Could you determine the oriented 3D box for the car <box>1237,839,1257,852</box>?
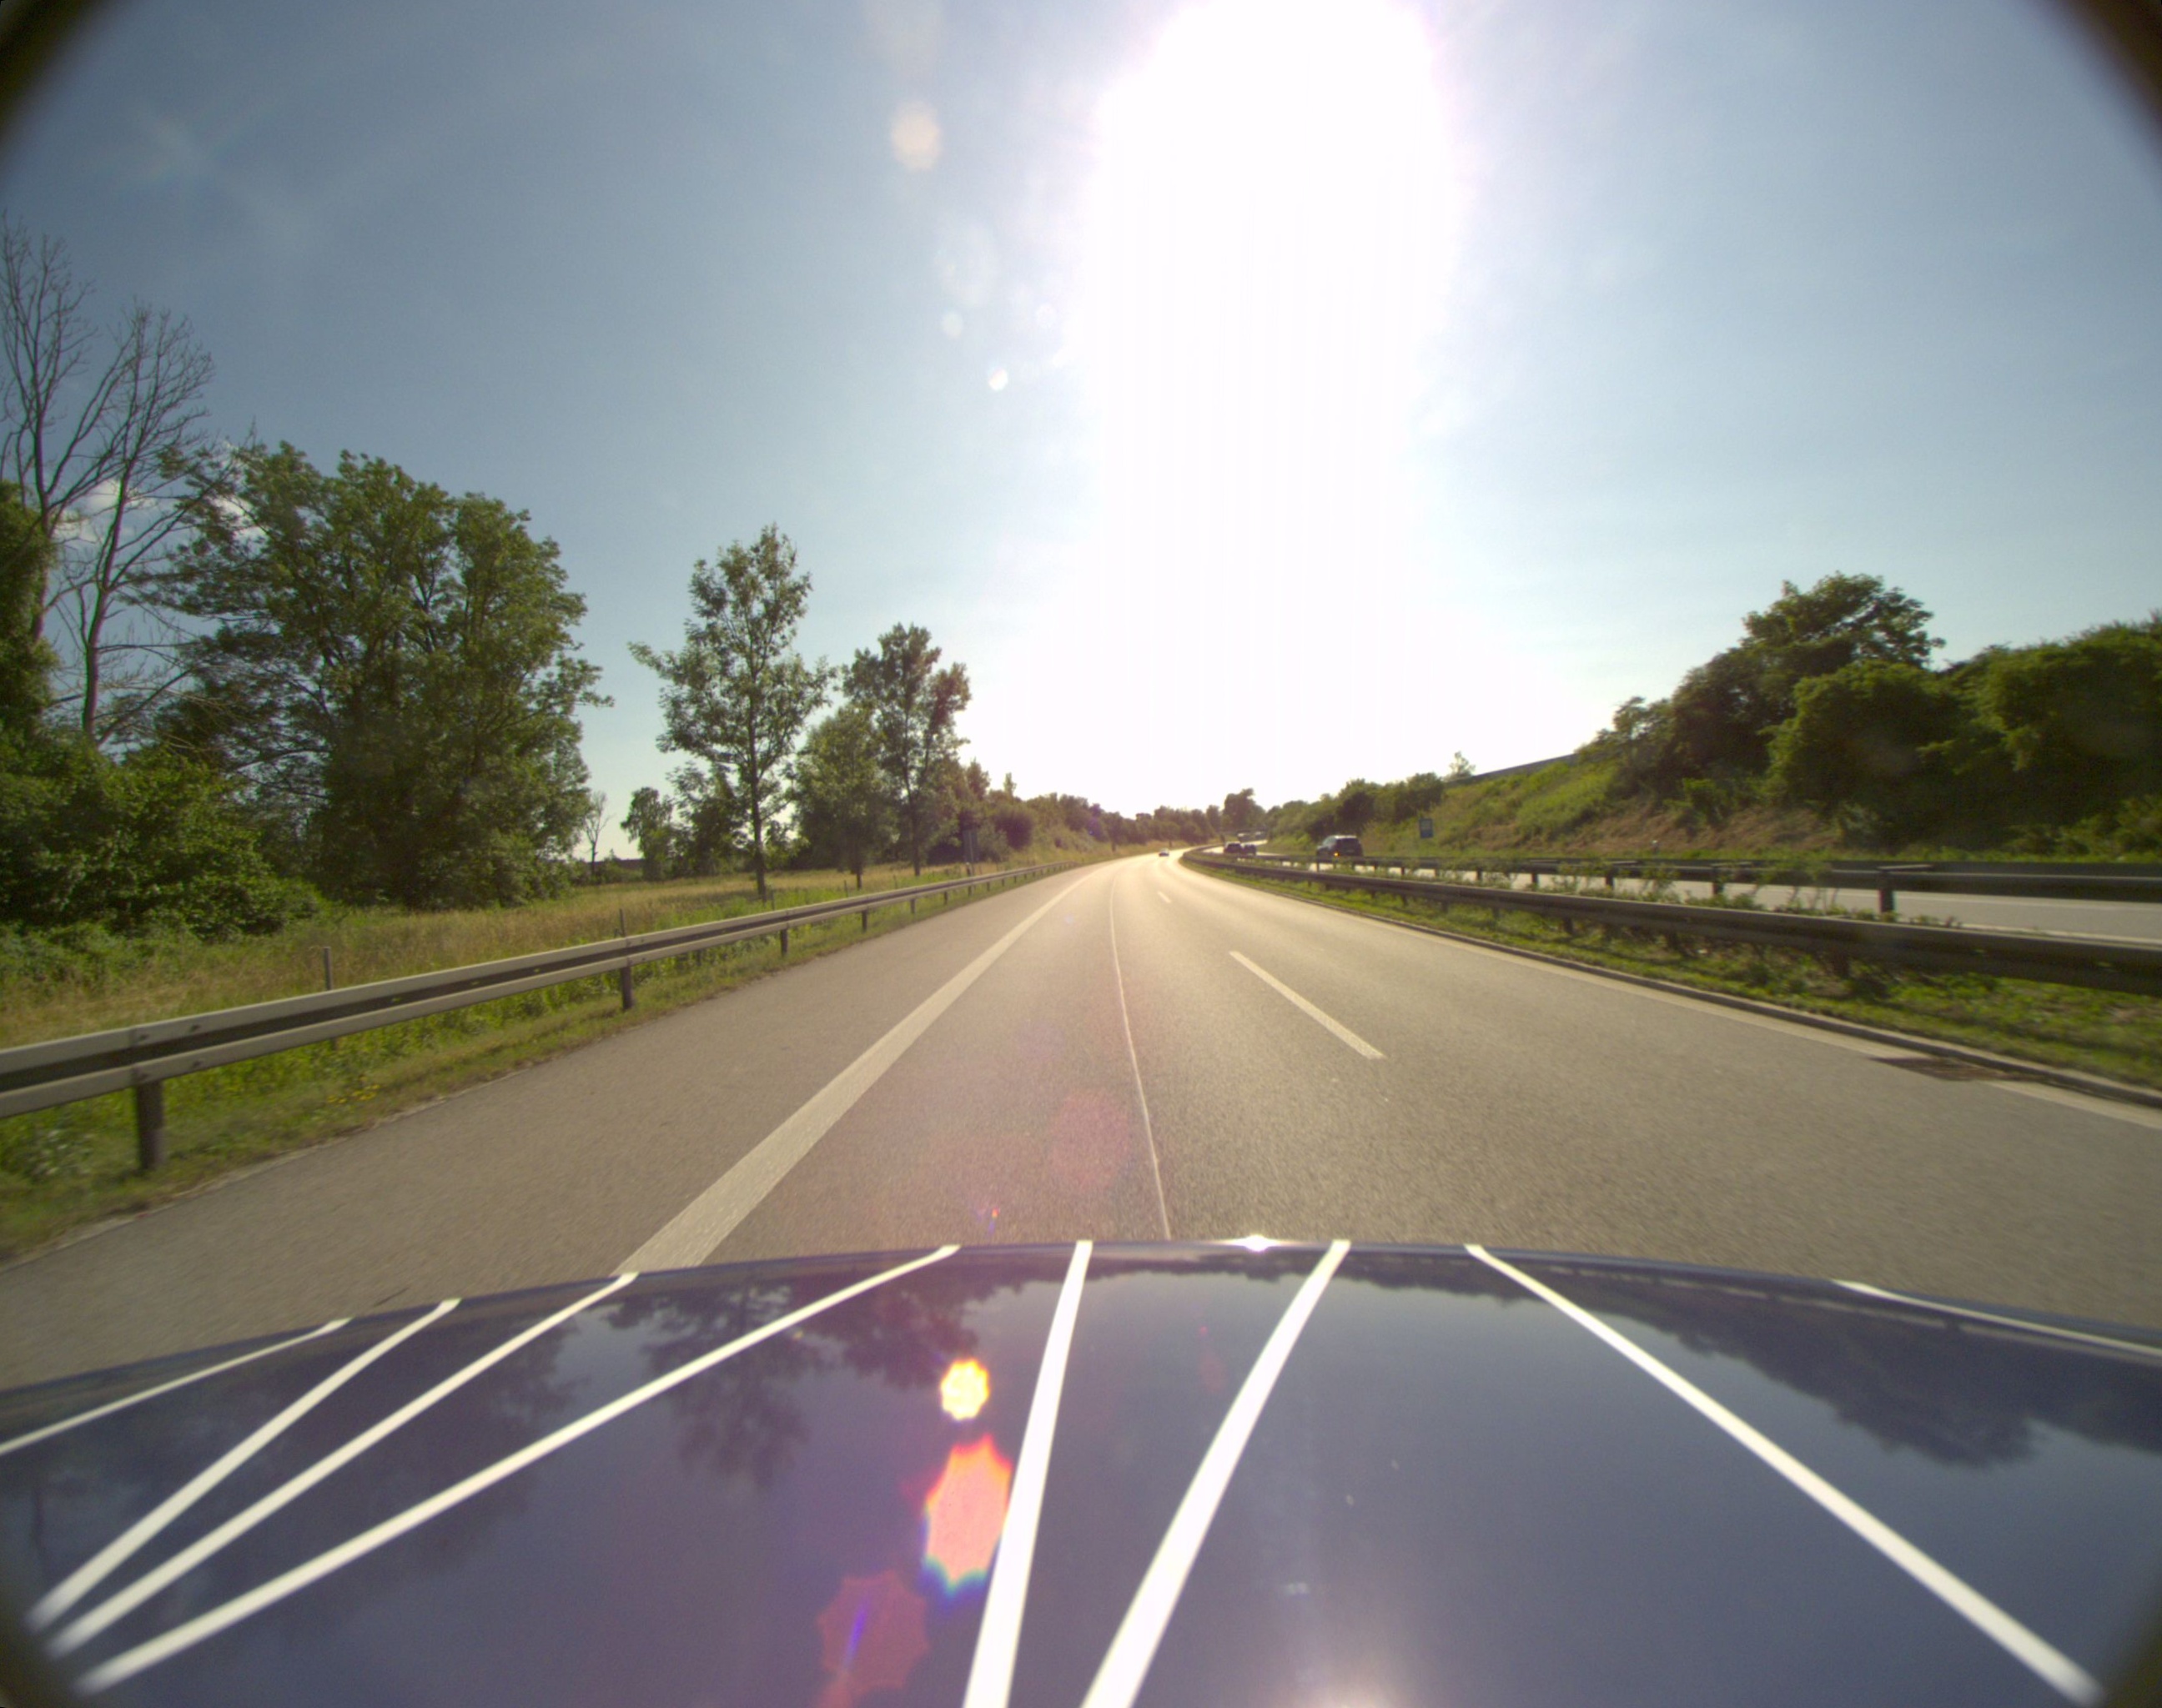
[{"bbox_3d":[21.630,-1.115,99.149,1.823,1.471,4.686,-3,1,4],"label":"car"}]

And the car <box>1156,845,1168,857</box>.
[{"bbox_3d":[15.081,-0.580,140.991,1.997,2.002,4.601,-4,1,8],"label":"car"}]

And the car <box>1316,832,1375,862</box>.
[{"bbox_3d":[15.626,-0.397,45.166,1.998,1.642,4.434,-1,1,1],"label":"car"}]

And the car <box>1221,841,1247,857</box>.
[{"bbox_3d":[16.654,-0.589,82.895,2.072,1.669,4.887,-1,0,3],"label":"car"}]
